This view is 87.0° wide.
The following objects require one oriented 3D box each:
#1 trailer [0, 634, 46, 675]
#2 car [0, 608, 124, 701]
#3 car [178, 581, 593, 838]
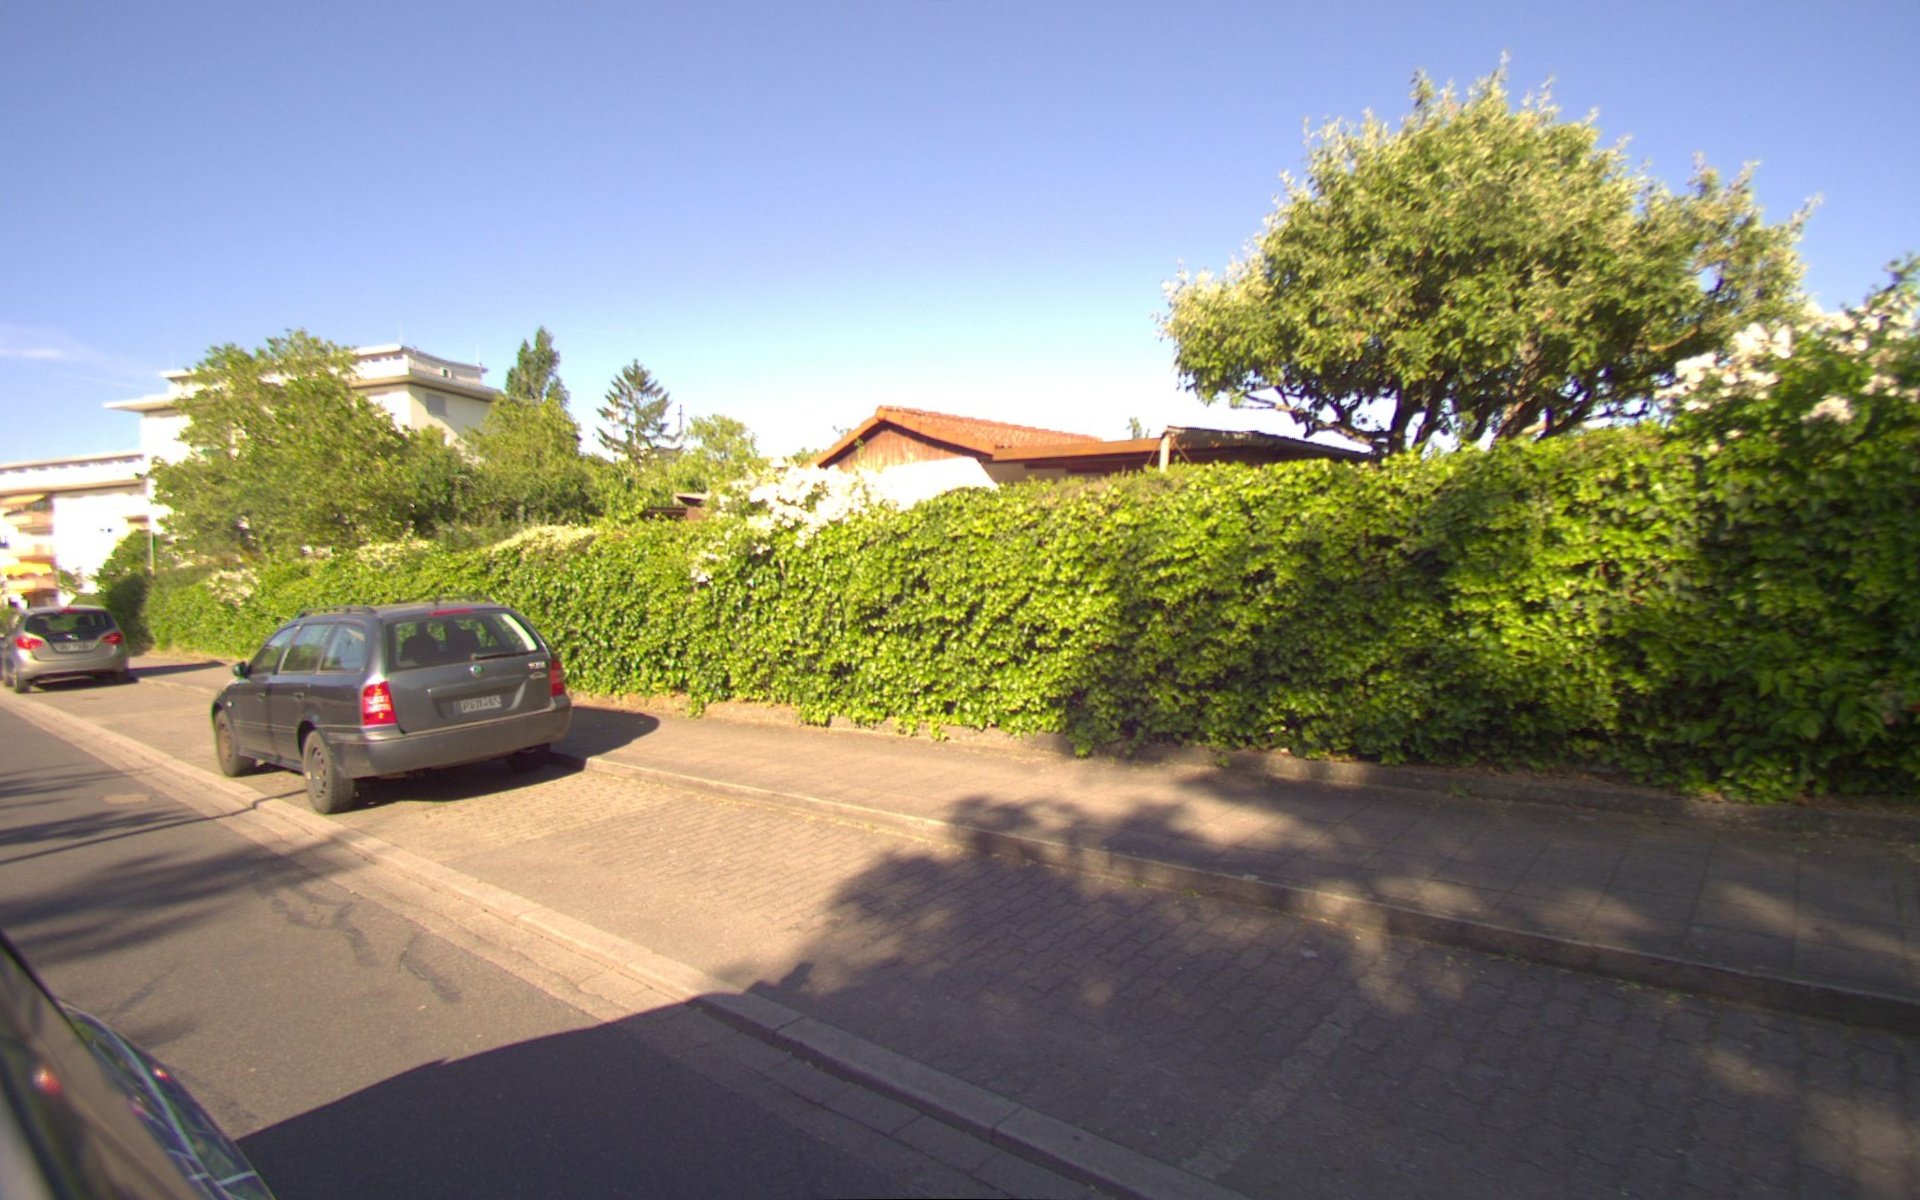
[{"bbox_3d":[-25.920,1.485,27.410,2.648,0.960,1.527,-1,2,44],"label":"trailer"},{"bbox_3d":[-18.338,1.035,20.482,4.312,1.611,1.626,-1,2,44],"label":"car"},{"bbox_3d":[-5.031,0.733,8.563,4.416,1.567,1.627,-1,3,42],"label":"car"}]
